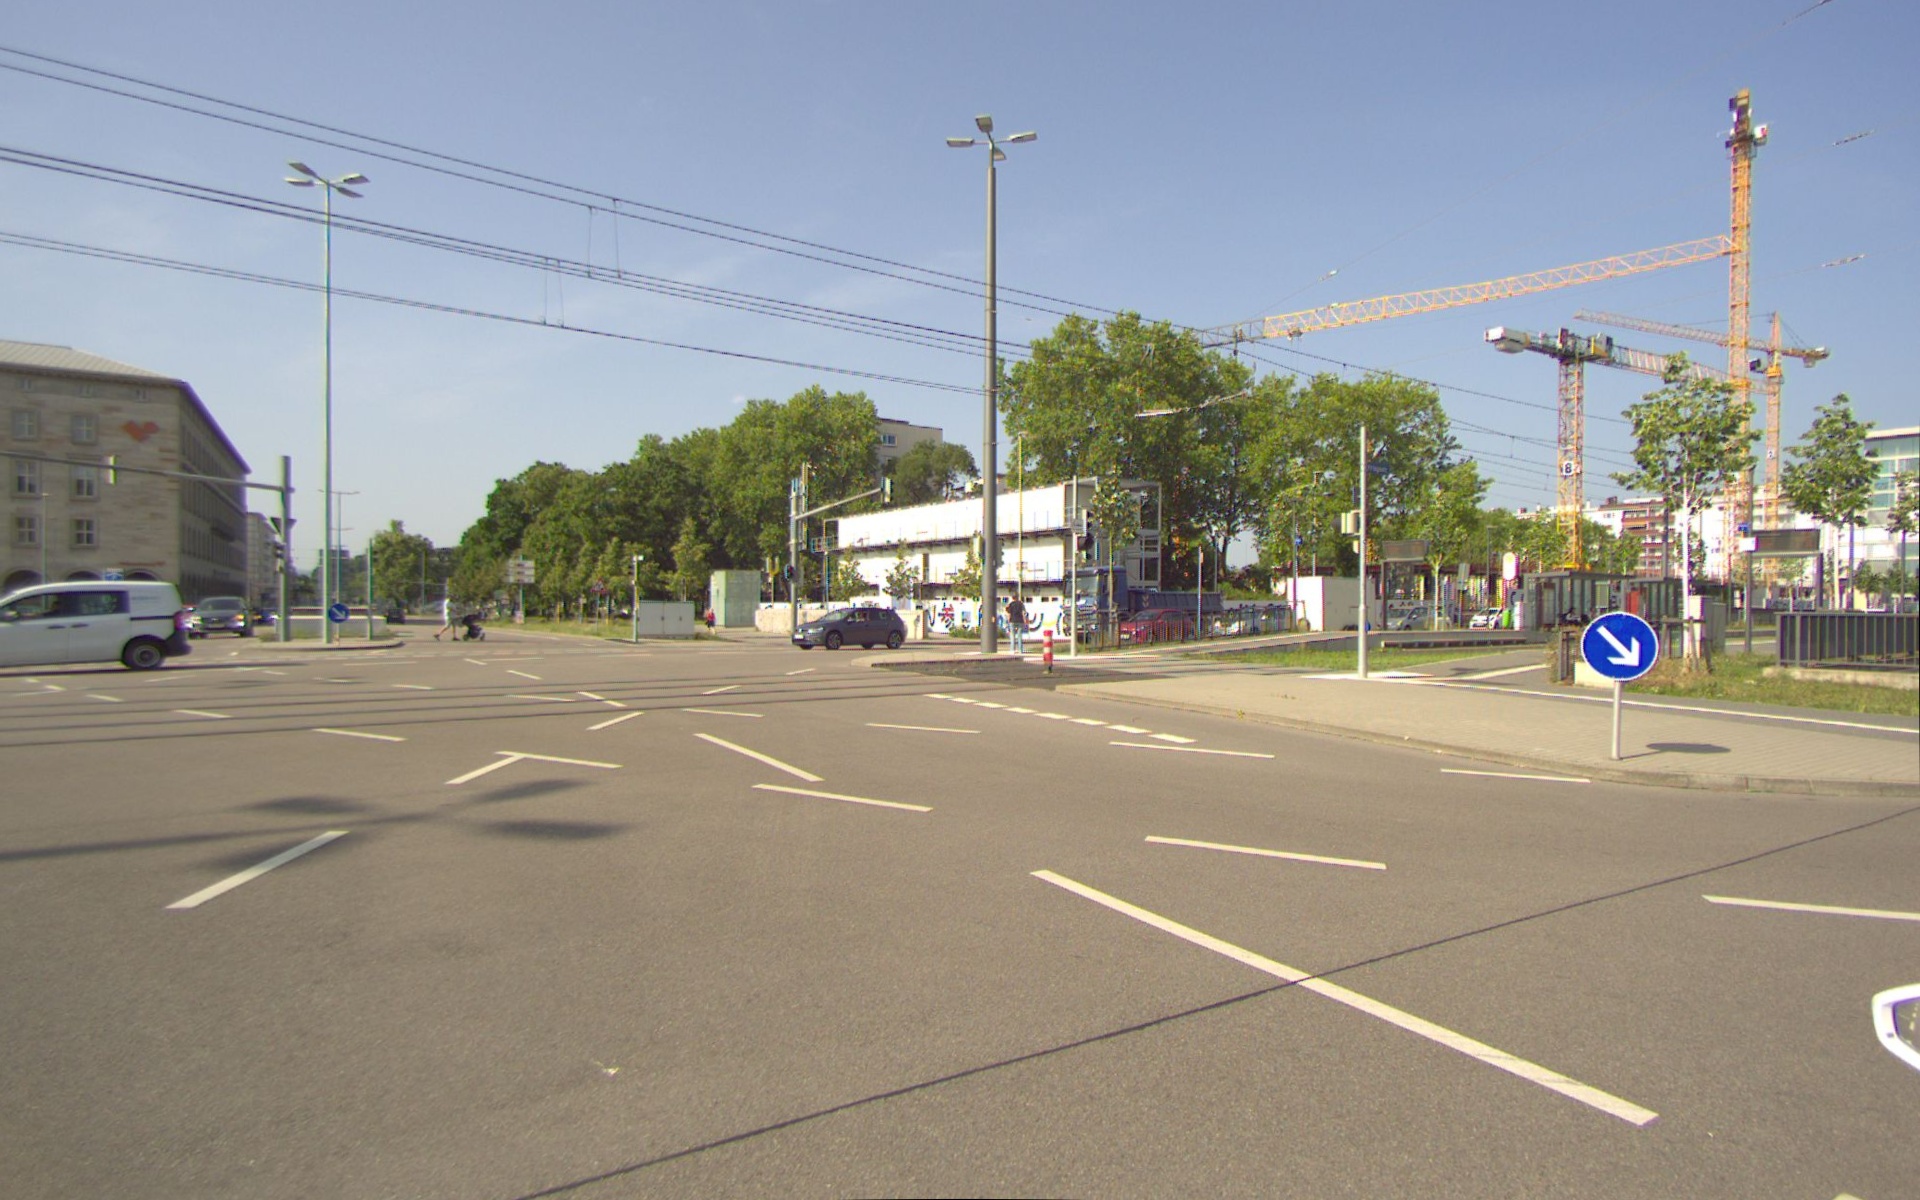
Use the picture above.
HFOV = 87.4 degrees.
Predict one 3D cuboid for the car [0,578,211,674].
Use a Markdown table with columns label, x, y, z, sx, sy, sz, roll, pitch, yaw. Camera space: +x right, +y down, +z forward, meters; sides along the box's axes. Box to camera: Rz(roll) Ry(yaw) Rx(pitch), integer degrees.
| label | x | y | z | sx | sy | sz | roll | pitch | yaw |
| --- | --- | --- | --- | --- | --- | --- | --- | --- | --- |
| car | -17.917 | 0.485 | 20.132 | 1.599 | 1.813 | 4.491 | 1 | 0 | 44 |

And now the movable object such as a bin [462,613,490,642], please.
| label | x | y | z | sx | sy | sz | roll | pitch | yaw |
| --- | --- | --- | --- | --- | --- | --- | --- | --- | --- |
| movable object such as a bin | -18.512 | 1.056 | 38.403 | 0.898 | 1.088 | 0.560 | 0 | 0 | -32 |

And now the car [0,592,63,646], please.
| label | x | y | z | sx | sy | sz | roll | pitch | yaw |
| --- | --- | --- | --- | --- | --- | --- | --- | --- | --- |
| car | -37.268 | 0.717 | 39.754 | 1.978 | 2.040 | 3.965 | 0 | 0 | -32 |

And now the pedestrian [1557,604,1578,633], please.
| label | x | y | z | sx | sy | sz | roll | pitch | yaw |
| --- | --- | --- | --- | --- | --- | --- | --- | --- | --- |
| pedestrian | 28.522 | 0.863 | 47.186 | 0.587 | 1.317 | 0.675 | 0 | 0 | -39 |

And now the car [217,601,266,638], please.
| label | x | y | z | sx | sy | sz | roll | pitch | yaw |
| --- | --- | --- | --- | --- | --- | --- | --- | --- | --- |
| car | -29.354 | 0.768 | 41.025 | 1.555 | 1.439 | 3.307 | 0 | 0 | -37 |

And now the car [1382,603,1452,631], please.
| label | x | y | z | sx | sy | sz | roll | pitch | yaw |
| --- | --- | --- | --- | --- | --- | --- | --- | --- | --- |
| car | 27.062 | 1.015 | 59.397 | 4.572 | 1.603 | 1.779 | 1 | 0 | -37 |

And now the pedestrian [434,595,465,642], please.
| label | x | y | z | sx | sy | sz | roll | pitch | yaw |
| --- | --- | --- | --- | --- | --- | --- | --- | --- | --- |
| pedestrian | -19.261 | 0.707 | 37.927 | 0.995 | 1.757 | 0.557 | 0 | 0 | -32 |

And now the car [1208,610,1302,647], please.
| label | x | y | z | sx | sy | sz | roll | pitch | yaw |
| --- | --- | --- | --- | --- | --- | --- | --- | --- | --- |
| car | 12.637 | 1.164 | 42.976 | 4.363 | 1.489 | 1.630 | 0 | 0 | -38 |

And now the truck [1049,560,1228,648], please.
| label | x | y | z | sx | sy | sz | roll | pitch | yaw |
| --- | --- | --- | --- | --- | --- | --- | --- | --- | --- |
| truck | 8.187 | 0.177 | 45.168 | 8.817 | 3.634 | 2.996 | 0 | 0 | -40 |

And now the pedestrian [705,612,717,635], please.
| label | x | y | z | sx | sy | sz | roll | pitch | yaw |
| --- | --- | --- | --- | --- | --- | --- | --- | --- | --- |
| pedestrian | -14.084 | 1.323 | 56.742 | 0.532 | 1.233 | 0.440 | 1 | 2 | -34 |

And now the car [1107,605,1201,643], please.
| label | x | y | z | sx | sy | sz | roll | pitch | yaw |
| --- | --- | --- | --- | --- | --- | --- | --- | --- | --- |
| car | 7.661 | 0.910 | 39.530 | 3.668 | 1.379 | 1.706 | 1 | 0 | -40 |

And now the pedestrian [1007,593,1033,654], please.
| label | x | y | z | sx | sy | sz | roll | pitch | yaw |
| --- | --- | --- | --- | --- | --- | --- | --- | --- | --- |
| pedestrian | 1.683 | 0.650 | 28.385 | 0.630 | 1.698 | 0.370 | 0 | 0 | -20 |

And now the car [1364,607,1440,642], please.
| label | x | y | z | sx | sy | sz | roll | pitch | yaw |
| --- | --- | --- | --- | --- | --- | --- | --- | --- | --- |
| car | 22.456 | 1.225 | 50.975 | 4.110 | 1.684 | 1.709 | 1 | 0 | -36 |

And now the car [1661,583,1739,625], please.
| label | x | y | z | sx | sy | sz | roll | pitch | yaw |
| --- | --- | --- | --- | --- | --- | --- | --- | --- | --- |
| car | 65.642 | 0.345 | 89.051 | 9.147 | 3.560 | 3.032 | 1 | 1 | -37 |

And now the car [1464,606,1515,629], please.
| label | x | y | z | sx | sy | sz | roll | pitch | yaw |
| --- | --- | --- | --- | --- | --- | --- | --- | --- | --- |
| car | 34.691 | 1.157 | 65.778 | 3.400 | 1.483 | 1.585 | 1 | 0 | -36 |

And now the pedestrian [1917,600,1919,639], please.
| label | x | y | z | sx | sy | sz | roll | pitch | yaw |
| --- | --- | --- | --- | --- | --- | --- | --- | --- | --- |
| pedestrian | 41.020 | 0.827 | 42.427 | 0.704 | 1.640 | 0.730 | 1 | 0 | -37 |

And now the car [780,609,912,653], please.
| label | x | y | z | sx | sy | sz | roll | pitch | yaw |
| --- | --- | --- | --- | --- | --- | --- | --- | --- | --- |
| car | -3.817 | 0.996 | 34.114 | 4.392 | 1.365 | 1.580 | 0 | 0 | -43 |

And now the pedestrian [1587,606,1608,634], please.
| label | x | y | z | sx | sy | sz | roll | pitch | yaw |
| --- | --- | --- | --- | --- | --- | --- | --- | --- | --- |
| pedestrian | 31.023 | 0.967 | 48.878 | 0.587 | 1.317 | 0.675 | 0 | 0 | -39 |

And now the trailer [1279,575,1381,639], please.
| label | x | y | z | sx | sy | sz | roll | pitch | yaw |
| --- | --- | --- | --- | --- | --- | --- | --- | --- | --- |
| trailer | 17.338 | 0.346 | 46.932 | 4.975 | 2.818 | 2.030 | 1 | 2 | -37 |

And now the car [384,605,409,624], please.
| label | x | y | z | sx | sy | sz | roll | pitch | yaw |
| --- | --- | --- | --- | --- | --- | --- | --- | --- | --- |
| car | -52.937 | 1.349 | 94.269 | 1.867 | 1.742 | 3.964 | 0 | 0 | -32 |

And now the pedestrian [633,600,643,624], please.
| label | x | y | z | sx | sy | sz | roll | pitch | yaw |
| --- | --- | --- | --- | --- | --- | --- | --- | --- | --- |
| pedestrian | -23.596 | 0.878 | 73.631 | 0.535 | 1.731 | 0.587 | 0 | 0 | -37 |
